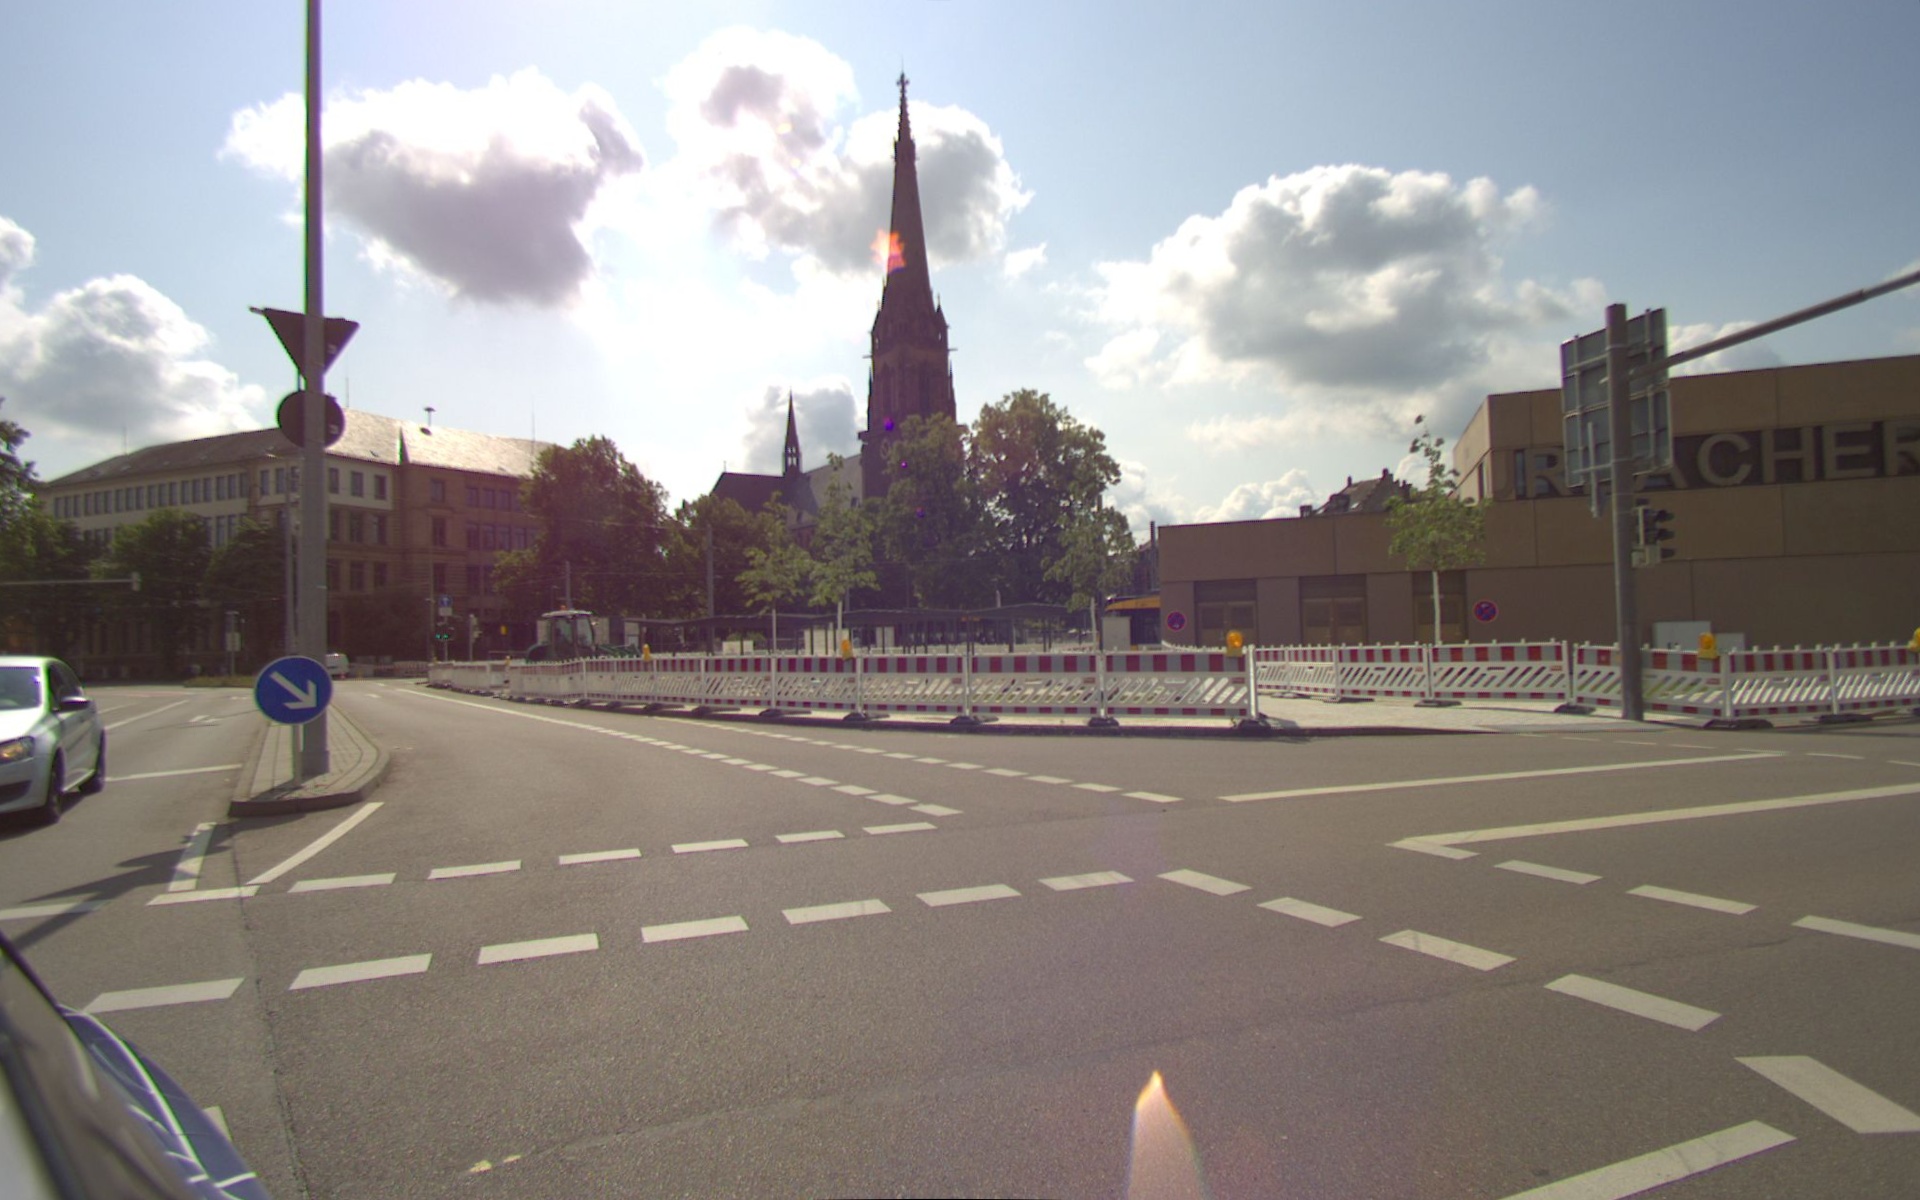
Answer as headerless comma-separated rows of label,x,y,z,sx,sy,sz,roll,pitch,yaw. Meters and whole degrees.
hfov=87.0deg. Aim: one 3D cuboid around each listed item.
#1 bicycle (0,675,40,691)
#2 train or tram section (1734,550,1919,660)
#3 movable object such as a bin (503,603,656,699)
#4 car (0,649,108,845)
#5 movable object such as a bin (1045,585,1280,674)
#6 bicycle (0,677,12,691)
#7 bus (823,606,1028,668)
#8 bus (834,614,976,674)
bicycle,-87.306,7.689,93.824,2.845,1.216,1.053,0,0,-26
train or tram section,34.295,0.096,34.328,12.326,3.599,2.649,-2,-2,22
movable object such as a bin,-12.580,1.692,33.522,4.406,2.972,1.991,-2,-3,13
car,-8.825,1.235,8.871,1.629,1.453,4.015,-3,-2,-34
movable object such as a bin,8.832,1.388,44.464,9.625,3.450,2.998,-3,-3,23
bicycle,-90.432,7.887,94.341,2.845,1.216,1.077,0,0,-26
bus,-2.144,2.247,60.261,11.991,3.287,2.972,-2,-2,22
bus,-3.117,2.516,57.282,7.709,3.081,2.357,-3,-3,22
